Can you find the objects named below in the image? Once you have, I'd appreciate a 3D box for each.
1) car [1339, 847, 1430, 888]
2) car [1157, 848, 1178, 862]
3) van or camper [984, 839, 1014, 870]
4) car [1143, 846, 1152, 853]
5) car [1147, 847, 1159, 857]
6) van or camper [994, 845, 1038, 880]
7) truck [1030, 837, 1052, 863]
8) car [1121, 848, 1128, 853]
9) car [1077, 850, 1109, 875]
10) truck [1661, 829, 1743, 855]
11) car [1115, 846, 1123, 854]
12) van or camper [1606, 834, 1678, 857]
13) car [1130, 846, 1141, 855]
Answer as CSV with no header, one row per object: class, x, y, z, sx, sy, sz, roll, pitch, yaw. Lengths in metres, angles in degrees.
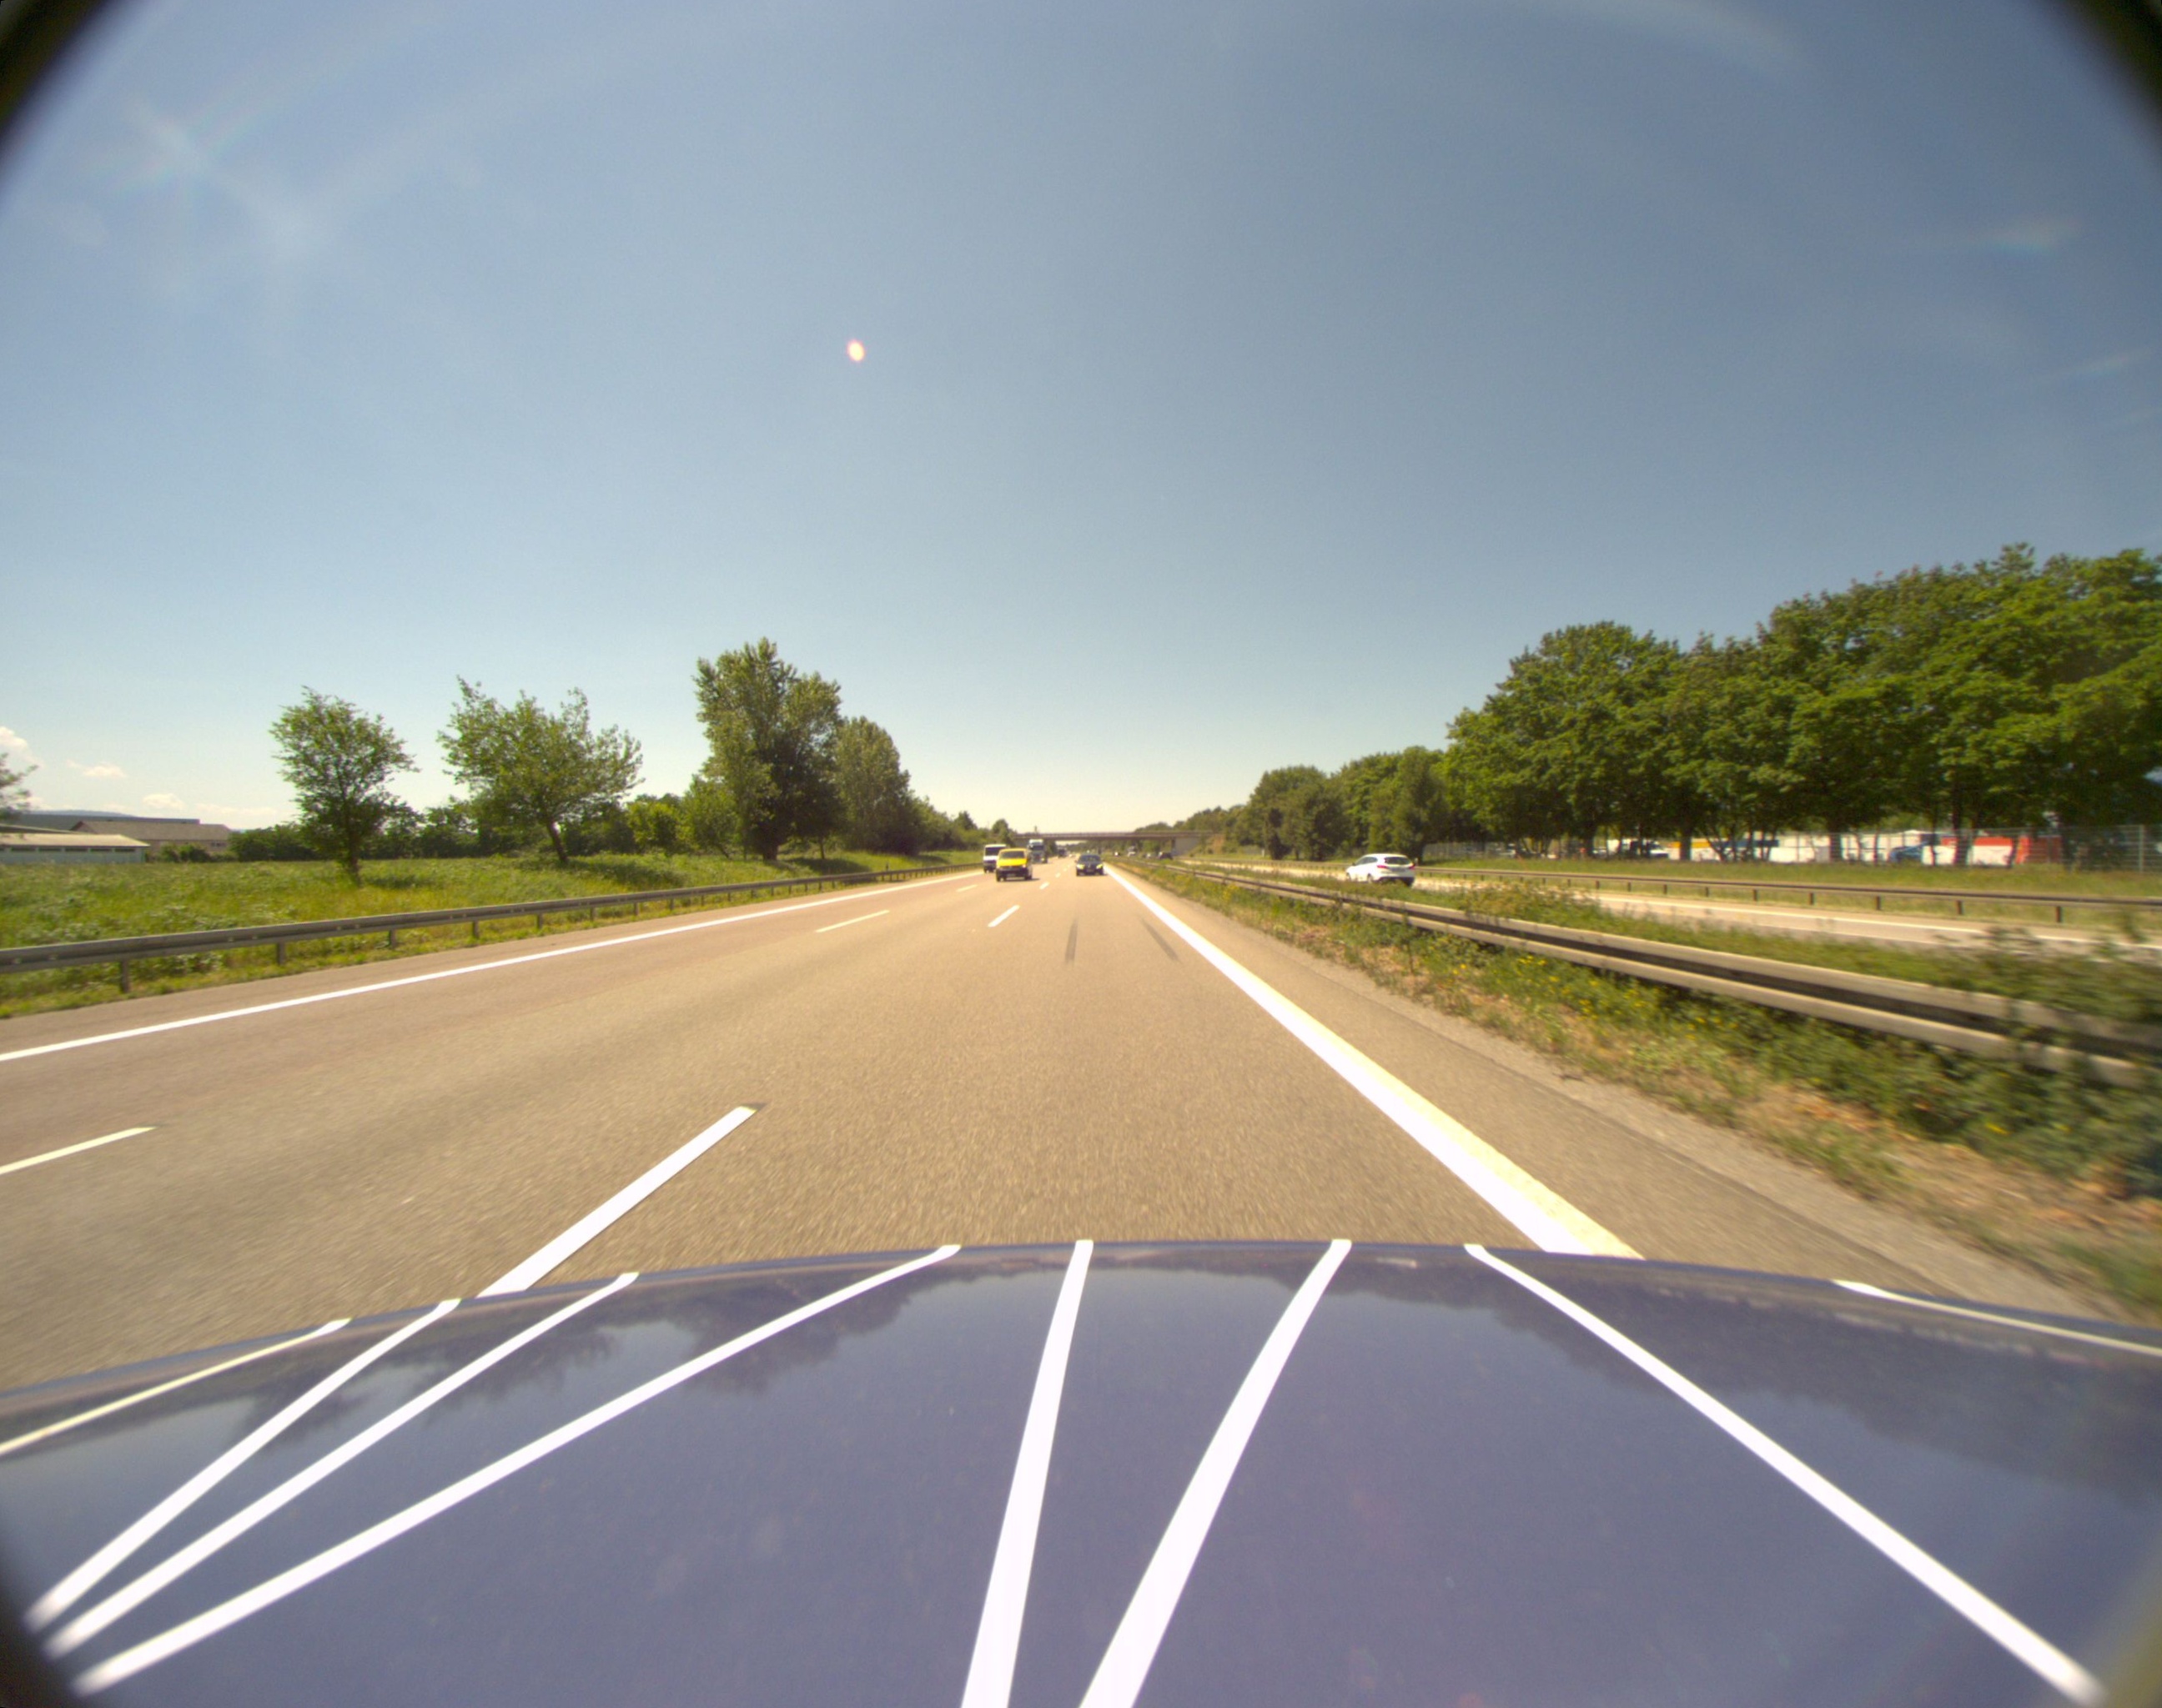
car,13.340,0.527,33.742,1.999,1.630,4.858,2,1,0
car,10.602,0.092,93.664,1.998,1.630,4.858,3,1,1
van or camper,-7.733,0.034,72.194,2.119,2.687,6.366,-2,1,0
car,18.556,-1.308,212.270,1.998,2.002,4.271,3,1,0
car,13.973,-0.423,147.004,1.877,1.783,4.423,-3,1,1
van or camper,-3.927,0.460,46.915,2.063,1.992,5.883,-2,0,1
truck,-6.689,-0.701,129.185,2.806,4.022,13.352,-3,1,0
car,14.516,-1.260,253.787,1.797,1.569,4.211,0,1,-1
car,0.711,0.516,48.496,1.894,1.541,4.038,1,1,-1
truck,78.622,-1.467,96.485,3.558,3.173,8.295,0,0,1
car,10.401,-1.142,208.190,1.998,1.875,5.647,-3,1,0
van or camper,63.581,-0.977,86.359,2.363,2.537,7.723,0,1,-1
car,11.223,-0.743,156.736,1.998,1.630,4.572,-3,1,1
